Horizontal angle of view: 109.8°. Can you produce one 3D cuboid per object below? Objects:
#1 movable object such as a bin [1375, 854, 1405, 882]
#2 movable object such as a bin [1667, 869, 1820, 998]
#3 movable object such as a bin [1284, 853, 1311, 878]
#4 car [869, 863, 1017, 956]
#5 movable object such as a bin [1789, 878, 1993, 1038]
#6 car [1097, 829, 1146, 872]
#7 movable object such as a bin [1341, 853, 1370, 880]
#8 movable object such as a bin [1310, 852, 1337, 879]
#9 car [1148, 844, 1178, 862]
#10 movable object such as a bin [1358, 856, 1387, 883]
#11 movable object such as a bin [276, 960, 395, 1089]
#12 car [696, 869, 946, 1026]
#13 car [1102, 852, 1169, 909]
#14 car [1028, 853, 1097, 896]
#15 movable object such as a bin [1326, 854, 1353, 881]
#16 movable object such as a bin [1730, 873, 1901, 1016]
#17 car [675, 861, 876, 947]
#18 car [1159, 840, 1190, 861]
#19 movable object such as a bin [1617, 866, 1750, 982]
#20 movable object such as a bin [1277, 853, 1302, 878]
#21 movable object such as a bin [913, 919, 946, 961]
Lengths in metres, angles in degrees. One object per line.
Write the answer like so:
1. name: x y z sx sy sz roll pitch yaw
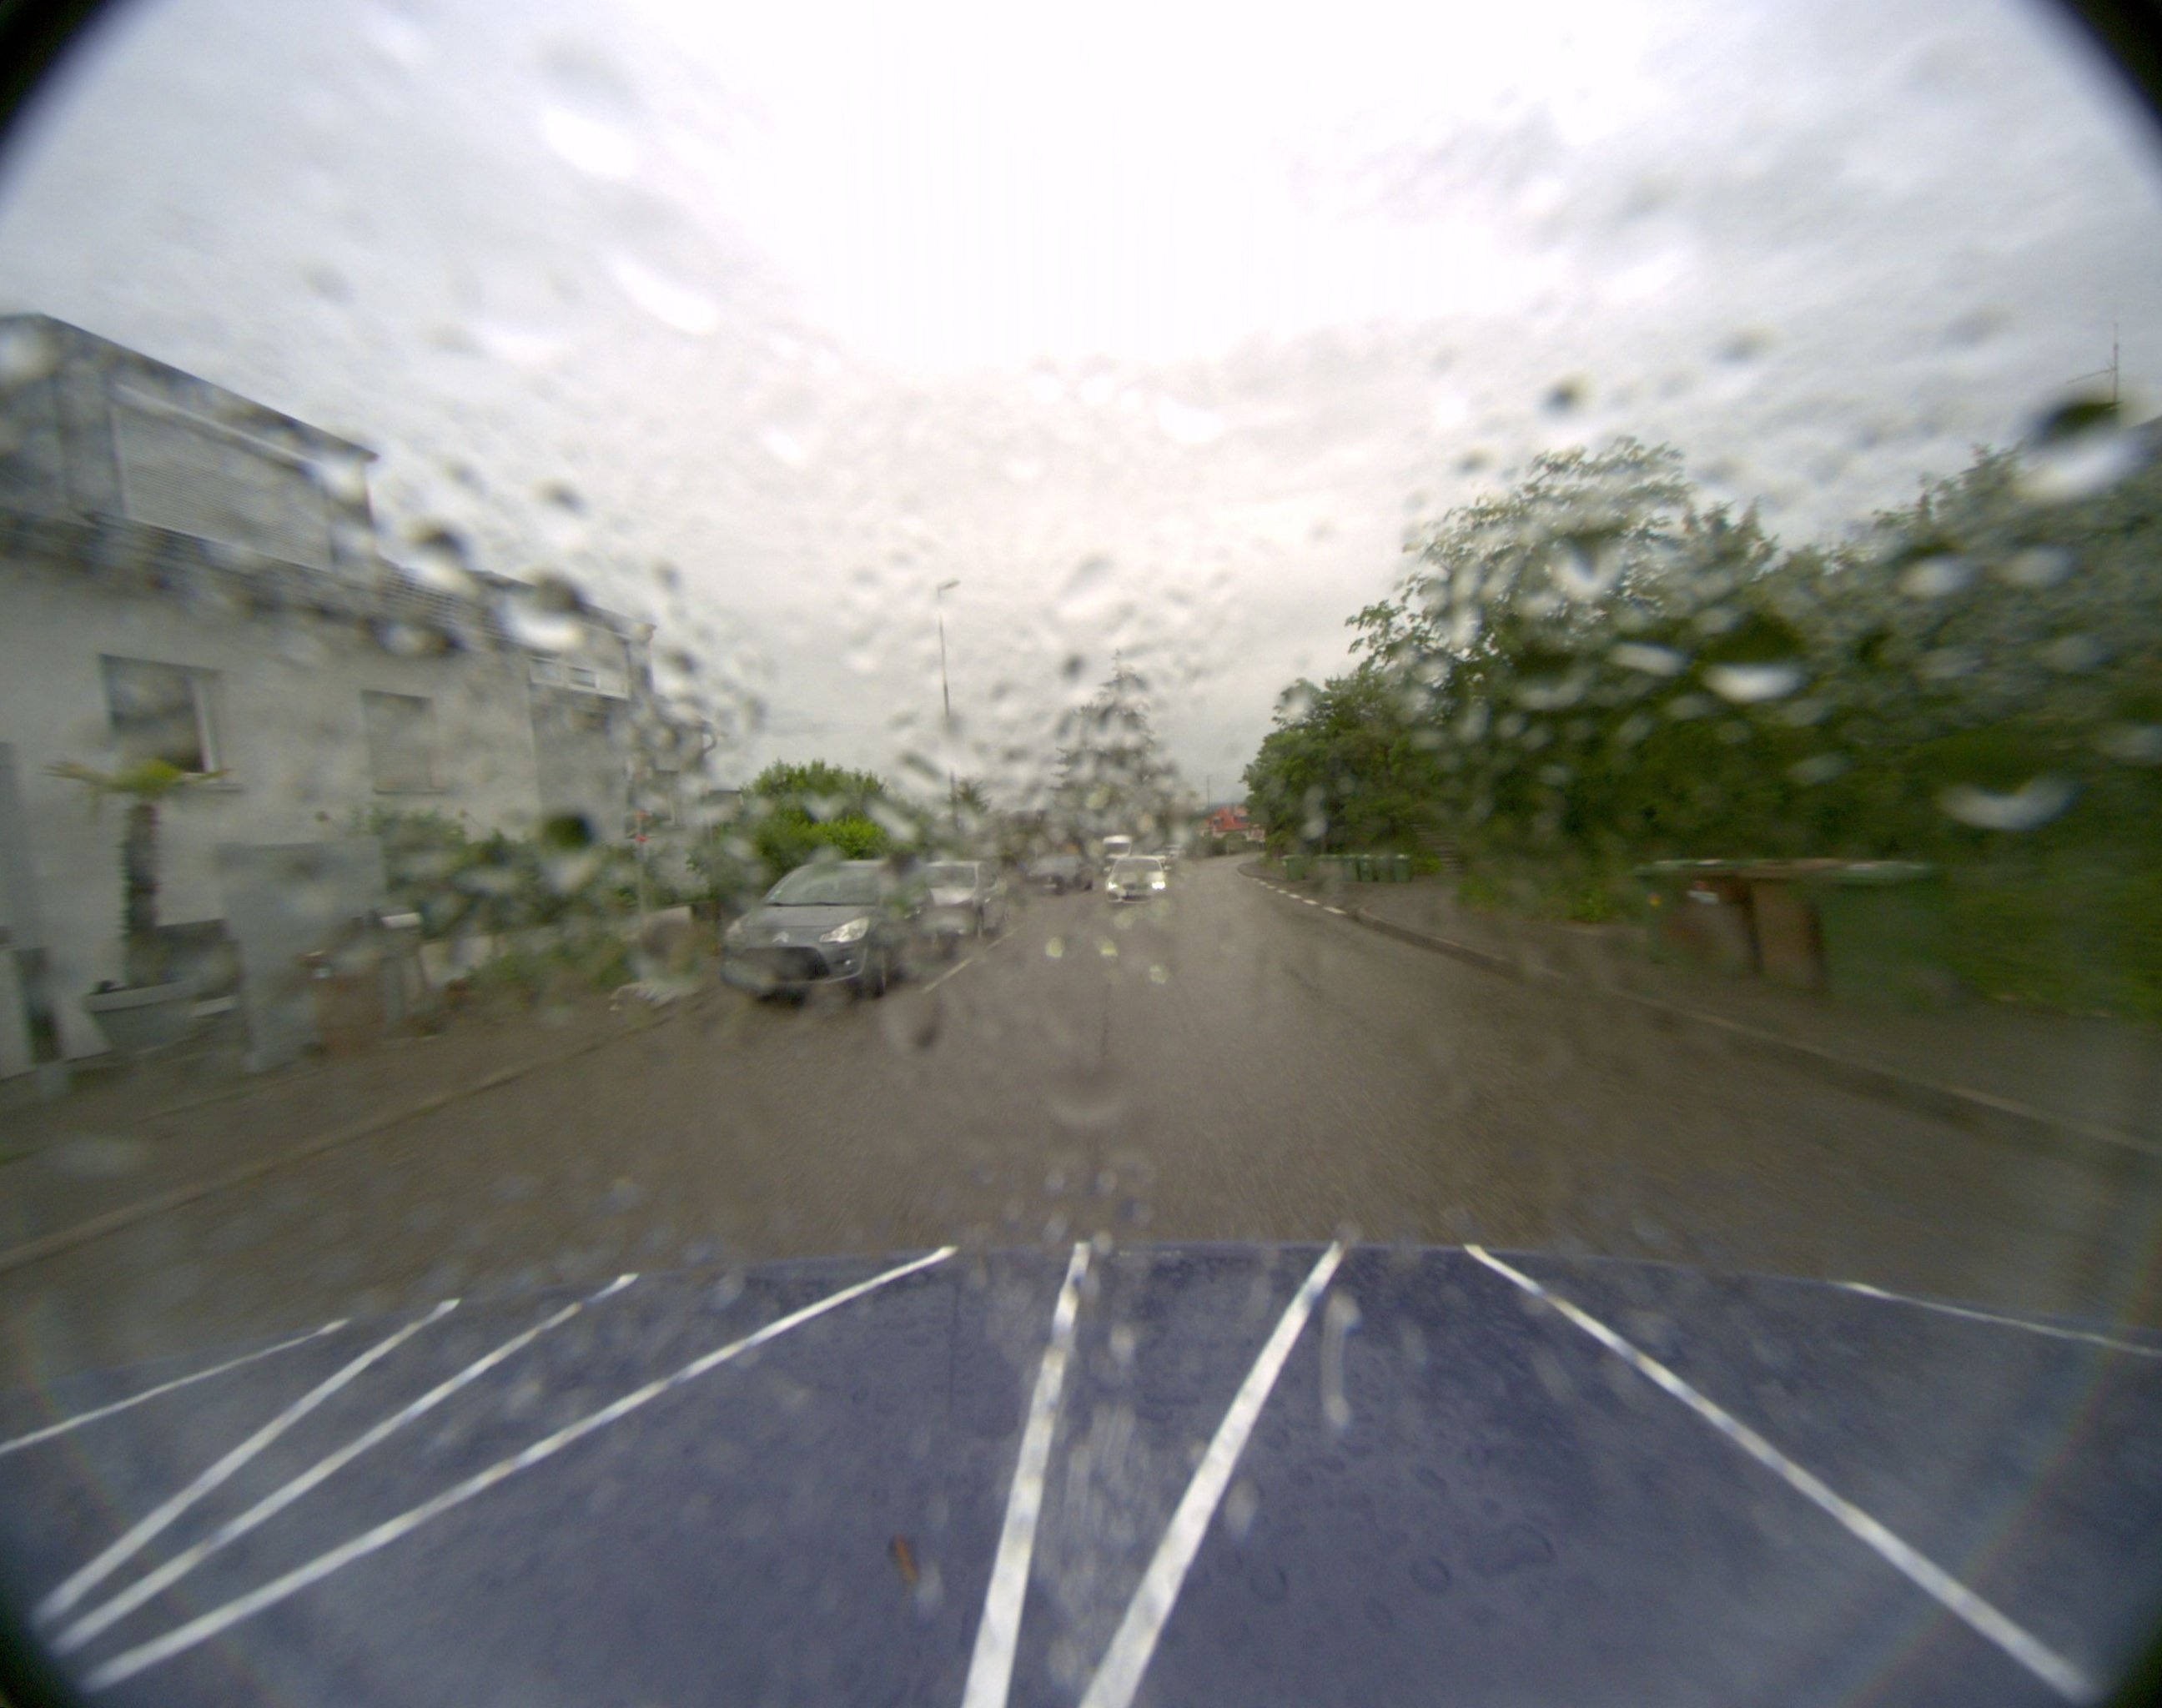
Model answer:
1. movable object such as a bin: 11.980 0.541 29.466 0.781 1.022 0.718 -6 2 -39
2. movable object such as a bin: 6.085 0.701 7.018 0.770 1.090 0.738 -2 1 -1
3. movable object such as a bin: 9.411 0.507 33.033 0.780 1.022 0.718 -5 2 -16
4. car: -2.463 0.939 14.651 1.772 1.458 4.235 0 0 4
5. movable object such as a bin: 5.951 0.735 5.623 0.770 1.062 0.690 -2 1 -1
6. car: 2.676 -0.261 48.467 2.076 2.535 6.186 -1 1 13
7. movable object such as a bin: 11.069 0.516 30.629 0.781 1.022 0.718 -6 2 -39
8. movable object such as a bin: 10.146 0.486 31.785 0.781 1.022 0.718 -6 2 -39
9. car: 6.946 -0.067 64.129 1.751 1.415 4.004 -1 1 17
10. movable object such as a bin: 11.539 0.614 30.047 0.781 1.022 0.718 -6 2 -39
11. movable object such as a bin: -6.044 1.364 6.178 0.433 0.934 0.500 -2 1 5
12. car: -2.938 0.977 9.478 1.663 1.458 3.764 0 0 3
13. car: 1.687 0.722 22.494 1.797 1.455 4.001 -1 1 6
14. car: -0.606 0.727 29.895 1.861 1.518 5.066 0 0 9
15. movable object such as a bin: 10.617 0.549 31.205 0.781 1.022 0.718 -6 2 -39
16. movable object such as a bin: 6.068 0.721 6.315 0.770 1.090 0.671 -2 1 -1
17. car: -7.500 1.200 18.855 3.995 1.433 2.001 -8 0 10
18. car: 8.570 -0.329 69.594 1.867 1.808 4.867 -1 1 18
19. movable object such as a bin: 6.149 0.691 7.799 0.770 1.090 0.738 -2 1 -1
20. movable object such as a bin: 9.258 0.511 33.759 0.780 1.022 0.718 -5 2 -16
21. movable object such as a bin: -4.211 2.382 21.135 0.677 1.061 0.645 -2 1 7
